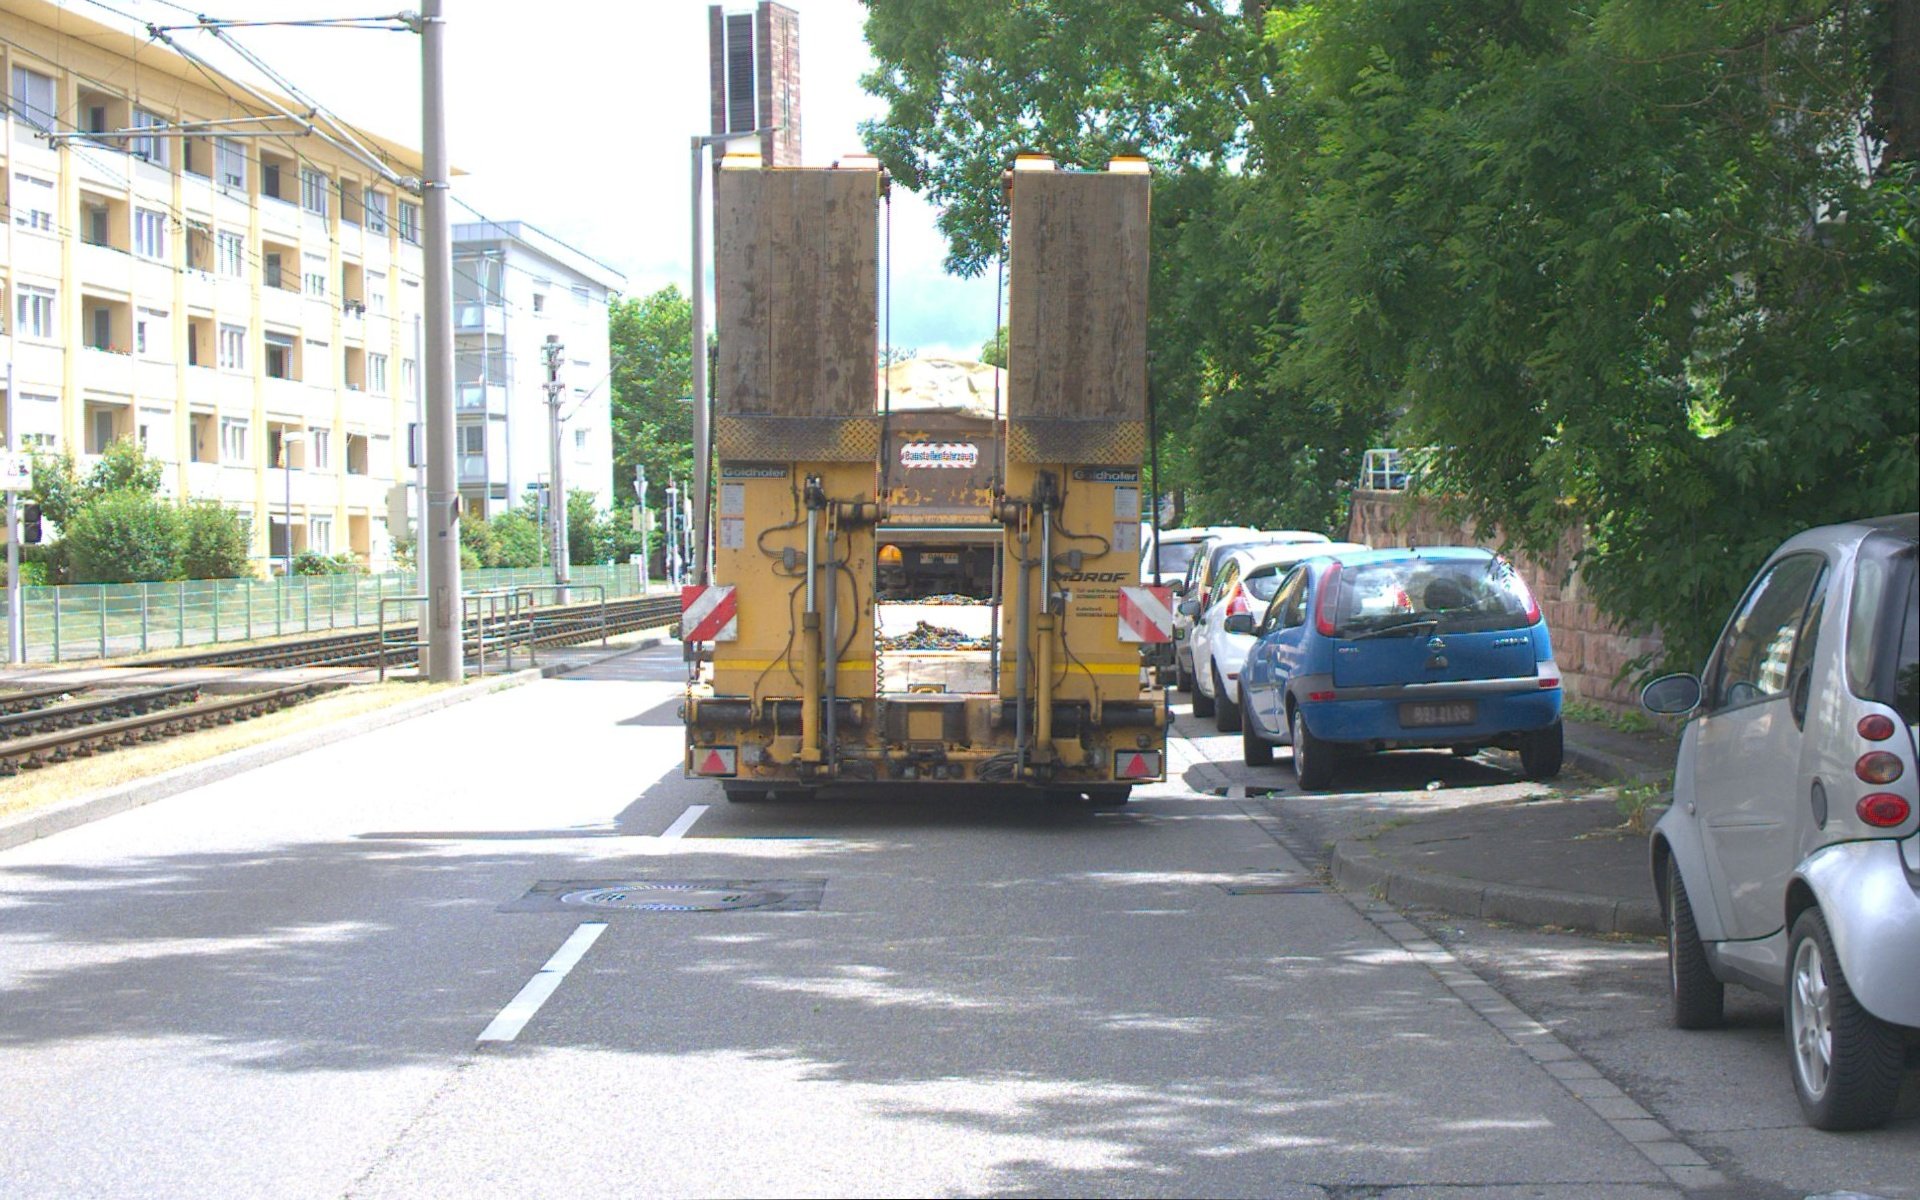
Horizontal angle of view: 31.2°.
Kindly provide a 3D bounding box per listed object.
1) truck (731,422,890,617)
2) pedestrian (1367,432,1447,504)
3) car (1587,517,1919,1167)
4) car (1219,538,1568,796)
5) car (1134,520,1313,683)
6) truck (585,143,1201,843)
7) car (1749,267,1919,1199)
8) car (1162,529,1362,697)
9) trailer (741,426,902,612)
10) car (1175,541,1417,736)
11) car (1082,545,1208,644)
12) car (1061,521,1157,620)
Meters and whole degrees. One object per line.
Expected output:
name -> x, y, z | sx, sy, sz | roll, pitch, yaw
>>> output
truck -> -2.827, -1.561, 66.546 | 2.698, 3.568, 6.145 | 1, 1, 1
pedestrian -> 5.012, -1.474, 38.576 | 0.795, 0.787, 0.705 | 0, 1, -1
car -> 2.826, 0.537, 9.659 | 1.513, 1.528, 2.847 | -2, 1, -1
car -> 2.695, 0.359, 22.097 | 1.608, 1.451, 3.676 | -2, 1, -2
car -> 2.889, -0.031, 38.464 | 1.824, 1.676, 4.575 | -1, 1, 3
truck -> -0.475, -0.689, 23.821 | 3.124, 3.552, 12.461 | -1, 1, -1
car -> 2.758, 0.384, 4.533 | 1.914, 1.952, 5.745 | -2, 1, -2
car -> 2.919, 0.081, 33.805 | 1.581, 1.547, 3.475 | -1, 1, -1
trailer -> -2.786, -1.713, 73.180 | 2.698, 3.568, 13.675 | 1, 1, 1
car -> 2.733, 0.264, 28.666 | 1.645, 1.484, 3.822 | 0, 1, 0
car -> 2.856, -0.117, 53.793 | 1.836, 1.400, 4.413 | -2, 1, 2
car -> 3.077, -0.647, 71.694 | 1.799, 1.961, 4.590 | -2, 1, 1
